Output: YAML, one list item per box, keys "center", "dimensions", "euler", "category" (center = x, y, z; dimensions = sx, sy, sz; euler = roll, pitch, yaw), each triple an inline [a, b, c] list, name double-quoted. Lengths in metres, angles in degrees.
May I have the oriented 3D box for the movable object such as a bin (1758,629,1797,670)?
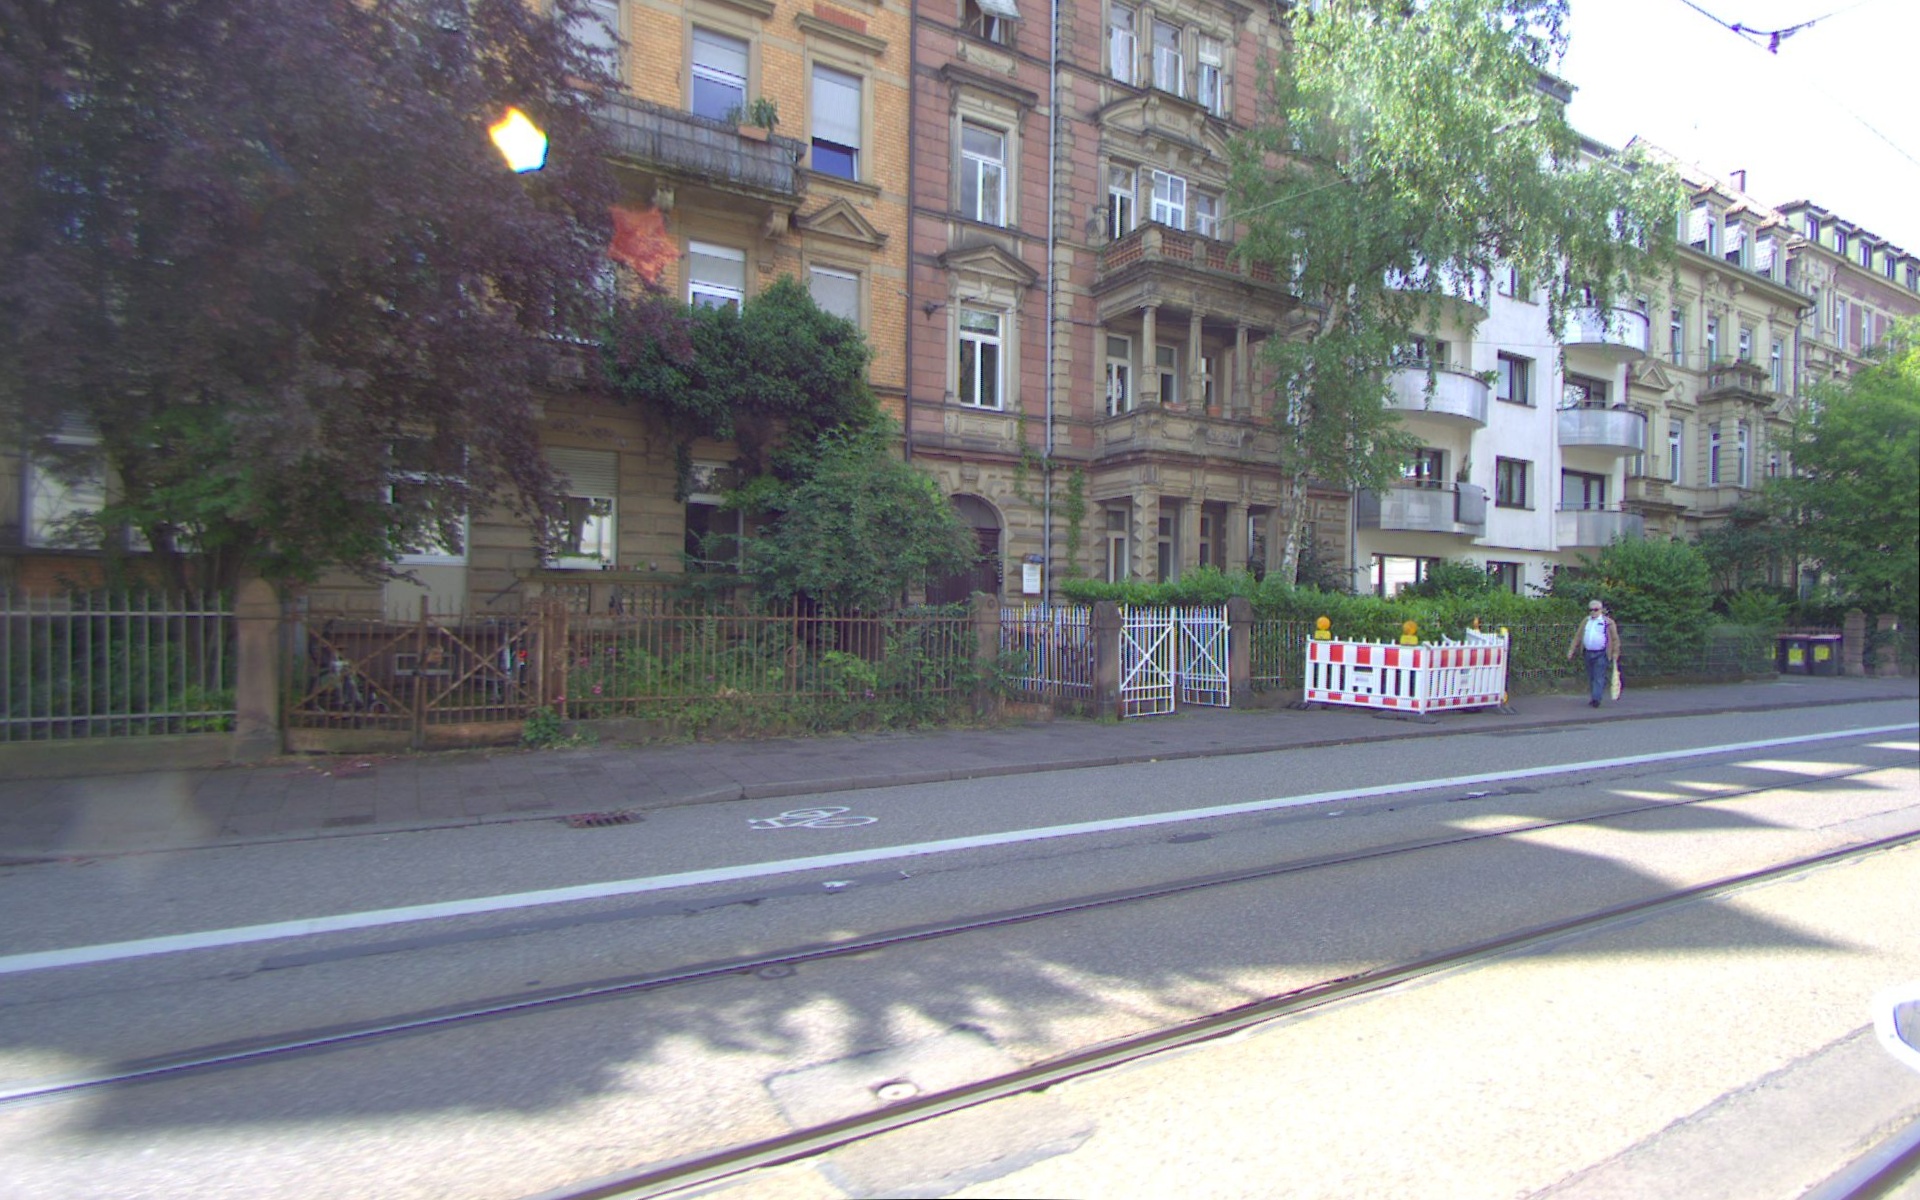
- center: [22.534, 1.358, 27.697]
  dimensions: [0.779, 1.123, 0.547]
  euler: [1, 0, -26]
  category: "movable object such as a bin"

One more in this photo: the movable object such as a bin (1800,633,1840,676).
- center: [22.863, 1.452, 26.705]
  dimensions: [0.779, 1.109, 0.536]
  euler: [1, 0, -26]
  category: "movable object such as a bin"

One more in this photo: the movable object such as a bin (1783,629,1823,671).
- center: [22.850, 1.348, 27.220]
  dimensions: [0.779, 1.123, 0.547]
  euler: [1, 0, -26]
  category: "movable object such as a bin"

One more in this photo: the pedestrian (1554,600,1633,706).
- center: [10.638, 0.866, 16.874]
  dimensions: [0.882, 1.729, 0.817]
  euler: [1, 0, -34]
  category: "pedestrian"

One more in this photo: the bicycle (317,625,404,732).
- center: [-6.629, 0.808, 11.053]
  dimensions: [0.463, 1.033, 2.185]
  euler: [1, 0, -40]
  category: "bicycle"
